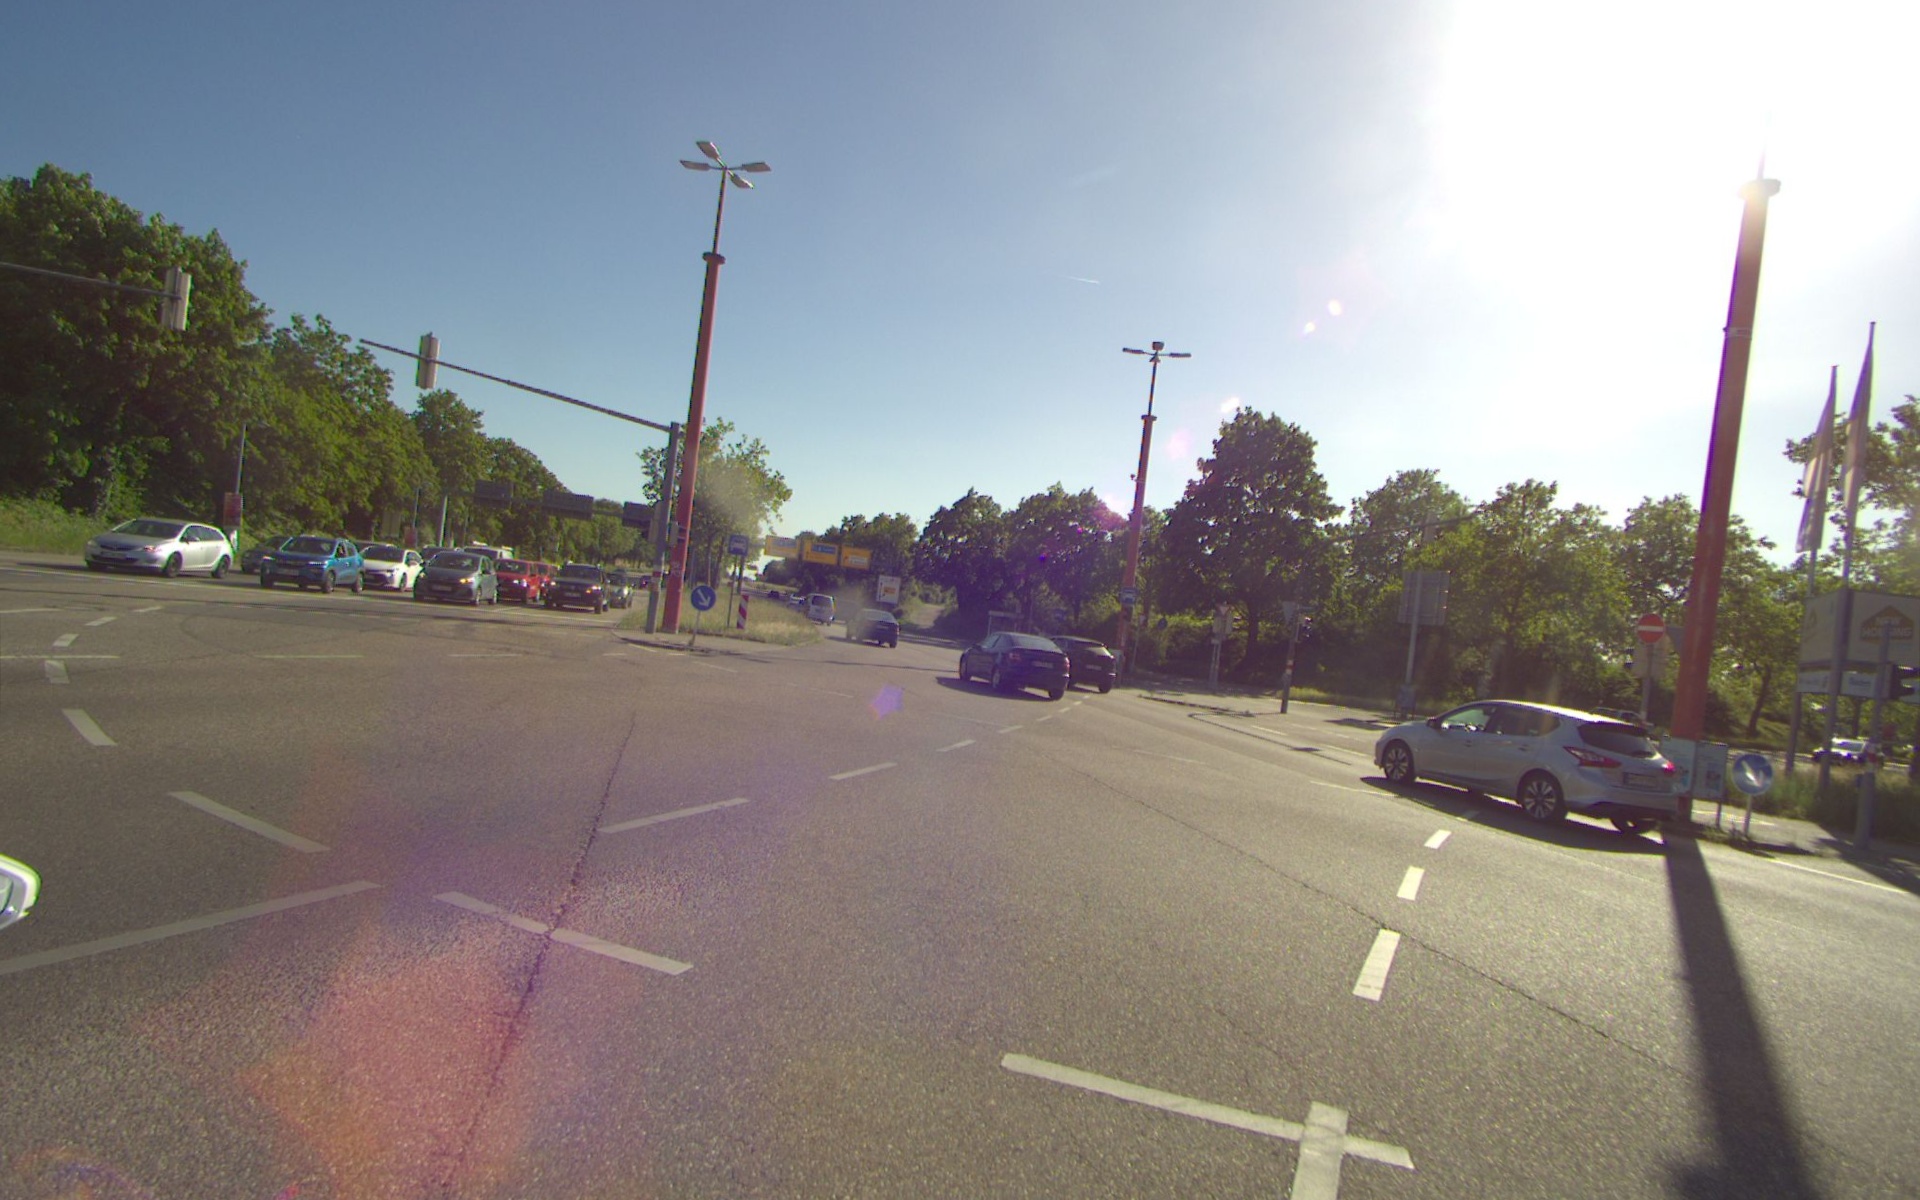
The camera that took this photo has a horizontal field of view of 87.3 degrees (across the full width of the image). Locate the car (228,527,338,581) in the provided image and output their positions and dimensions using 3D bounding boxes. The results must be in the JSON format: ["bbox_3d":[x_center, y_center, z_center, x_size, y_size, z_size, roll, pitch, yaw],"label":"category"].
[{"bbox_3d":[-23.674,-1.556,35.349,1.861,1.531,3.989,6,-1,-15],"label":"car"}]

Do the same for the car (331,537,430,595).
[{"bbox_3d":[-19.202,-1.090,33.536,1.879,1.574,3.986,7,-1,-17],"label":"car"}]

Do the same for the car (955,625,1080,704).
[{"bbox_3d":[1.294,1.518,24.619,1.698,1.436,4.037,8,-1,-16],"label":"car"}]

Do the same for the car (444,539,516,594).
[{"bbox_3d":[-22.198,-1.512,46.719,1.938,2.181,5.065,7,-1,-16],"label":"car"}]

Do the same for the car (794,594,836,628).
[{"bbox_3d":[-9.227,0.675,63.733,1.784,1.842,4.572,8,-2,-16],"label":"car"}]

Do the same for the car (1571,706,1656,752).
[{"bbox_3d":[29.733,5.873,45.738,4.106,1.534,1.847,10,-2,-38],"label":"car"}]

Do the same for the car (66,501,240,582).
[{"bbox_3d":[-20.952,-1.438,26.362,1.853,1.672,4.208,6,-1,-14],"label":"car"}]

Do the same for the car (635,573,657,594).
[{"bbox_3d":[-31.806,-1.673,101.821,1.893,1.868,3.946,7,-1,-18],"label":"car"}]

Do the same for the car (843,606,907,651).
[{"bbox_3d":[-3.648,1.155,42.374,1.693,1.471,4.182,7,-1,-17],"label":"car"}]

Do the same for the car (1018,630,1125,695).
[{"bbox_3d":[3.372,1.895,31.395,1.747,1.525,4.214,9,-2,-15],"label":"car"}]

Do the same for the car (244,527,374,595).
[{"bbox_3d":[-17.716,-1.012,27.584,1.779,1.534,3.847,6,-1,-15],"label":"car"}]

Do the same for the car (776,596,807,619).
[{"bbox_3d":[-13.380,0.565,79.676,1.783,1.510,4.670,9,-2,-15],"label":"car"}]

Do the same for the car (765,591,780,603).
[{"bbox_3d":[-31.647,-0.511,169.474,1.909,1.868,3.949,7,-1,-15],"label":"car"}]

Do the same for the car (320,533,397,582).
[{"bbox_3d":[-24.895,-1.700,41.776,1.756,1.672,3.962,5,-1,-17],"label":"car"}]

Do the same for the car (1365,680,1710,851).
[{"bbox_3d":[7.955,2.216,14.381,1.701,1.535,4.125,9,-1,-15],"label":"car"}]

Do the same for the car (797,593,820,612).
[{"bbox_3d":[-15.905,0.242,105.369,1.696,1.626,3.836,9,-2,-15],"label":"car"}]

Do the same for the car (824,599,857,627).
[{"bbox_3d":[-9.605,1.010,80.747,1.782,1.874,5.088,7,-1,-15],"label":"car"}]

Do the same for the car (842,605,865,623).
[{"bbox_3d":[-11.144,1.437,105.015,1.576,1.508,3.671,9,-2,-15],"label":"car"}]

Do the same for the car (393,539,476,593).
[{"bbox_3d":[-20.720,-1.312,39.827,1.851,1.805,3.989,7,-1,-14],"label":"car"}]

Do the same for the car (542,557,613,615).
[{"bbox_3d":[-12.989,-0.483,34.366,1.772,1.646,4.129,6,0,-16],"label":"car"}]

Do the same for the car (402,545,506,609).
[{"bbox_3d":[-14.791,-0.685,29.625,1.851,1.570,4.014,6,0,-16],"label":"car"}]

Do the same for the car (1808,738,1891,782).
[{"bbox_3d":[41.174,7.413,46.549,4.186,1.525,1.758,9,-1,-33],"label":"car"}]

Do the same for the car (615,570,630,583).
[{"bbox_3d":[-56.285,-3.865,167.674,1.892,1.868,3.949,7,-1,-15],"label":"car"}]

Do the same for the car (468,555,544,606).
[{"bbox_3d":[-16.091,-0.680,35.827,1.852,1.572,3.986,4,0,-17],"label":"car"}]

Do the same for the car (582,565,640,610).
[{"bbox_3d":[-14.414,-0.509,41.714,1.862,1.562,3.987,6,-1,-16],"label":"car"}]

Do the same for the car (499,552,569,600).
[{"bbox_3d":[-17.544,-0.954,41.623,1.878,1.649,3.990,8,-1,-14],"label":"car"}]
